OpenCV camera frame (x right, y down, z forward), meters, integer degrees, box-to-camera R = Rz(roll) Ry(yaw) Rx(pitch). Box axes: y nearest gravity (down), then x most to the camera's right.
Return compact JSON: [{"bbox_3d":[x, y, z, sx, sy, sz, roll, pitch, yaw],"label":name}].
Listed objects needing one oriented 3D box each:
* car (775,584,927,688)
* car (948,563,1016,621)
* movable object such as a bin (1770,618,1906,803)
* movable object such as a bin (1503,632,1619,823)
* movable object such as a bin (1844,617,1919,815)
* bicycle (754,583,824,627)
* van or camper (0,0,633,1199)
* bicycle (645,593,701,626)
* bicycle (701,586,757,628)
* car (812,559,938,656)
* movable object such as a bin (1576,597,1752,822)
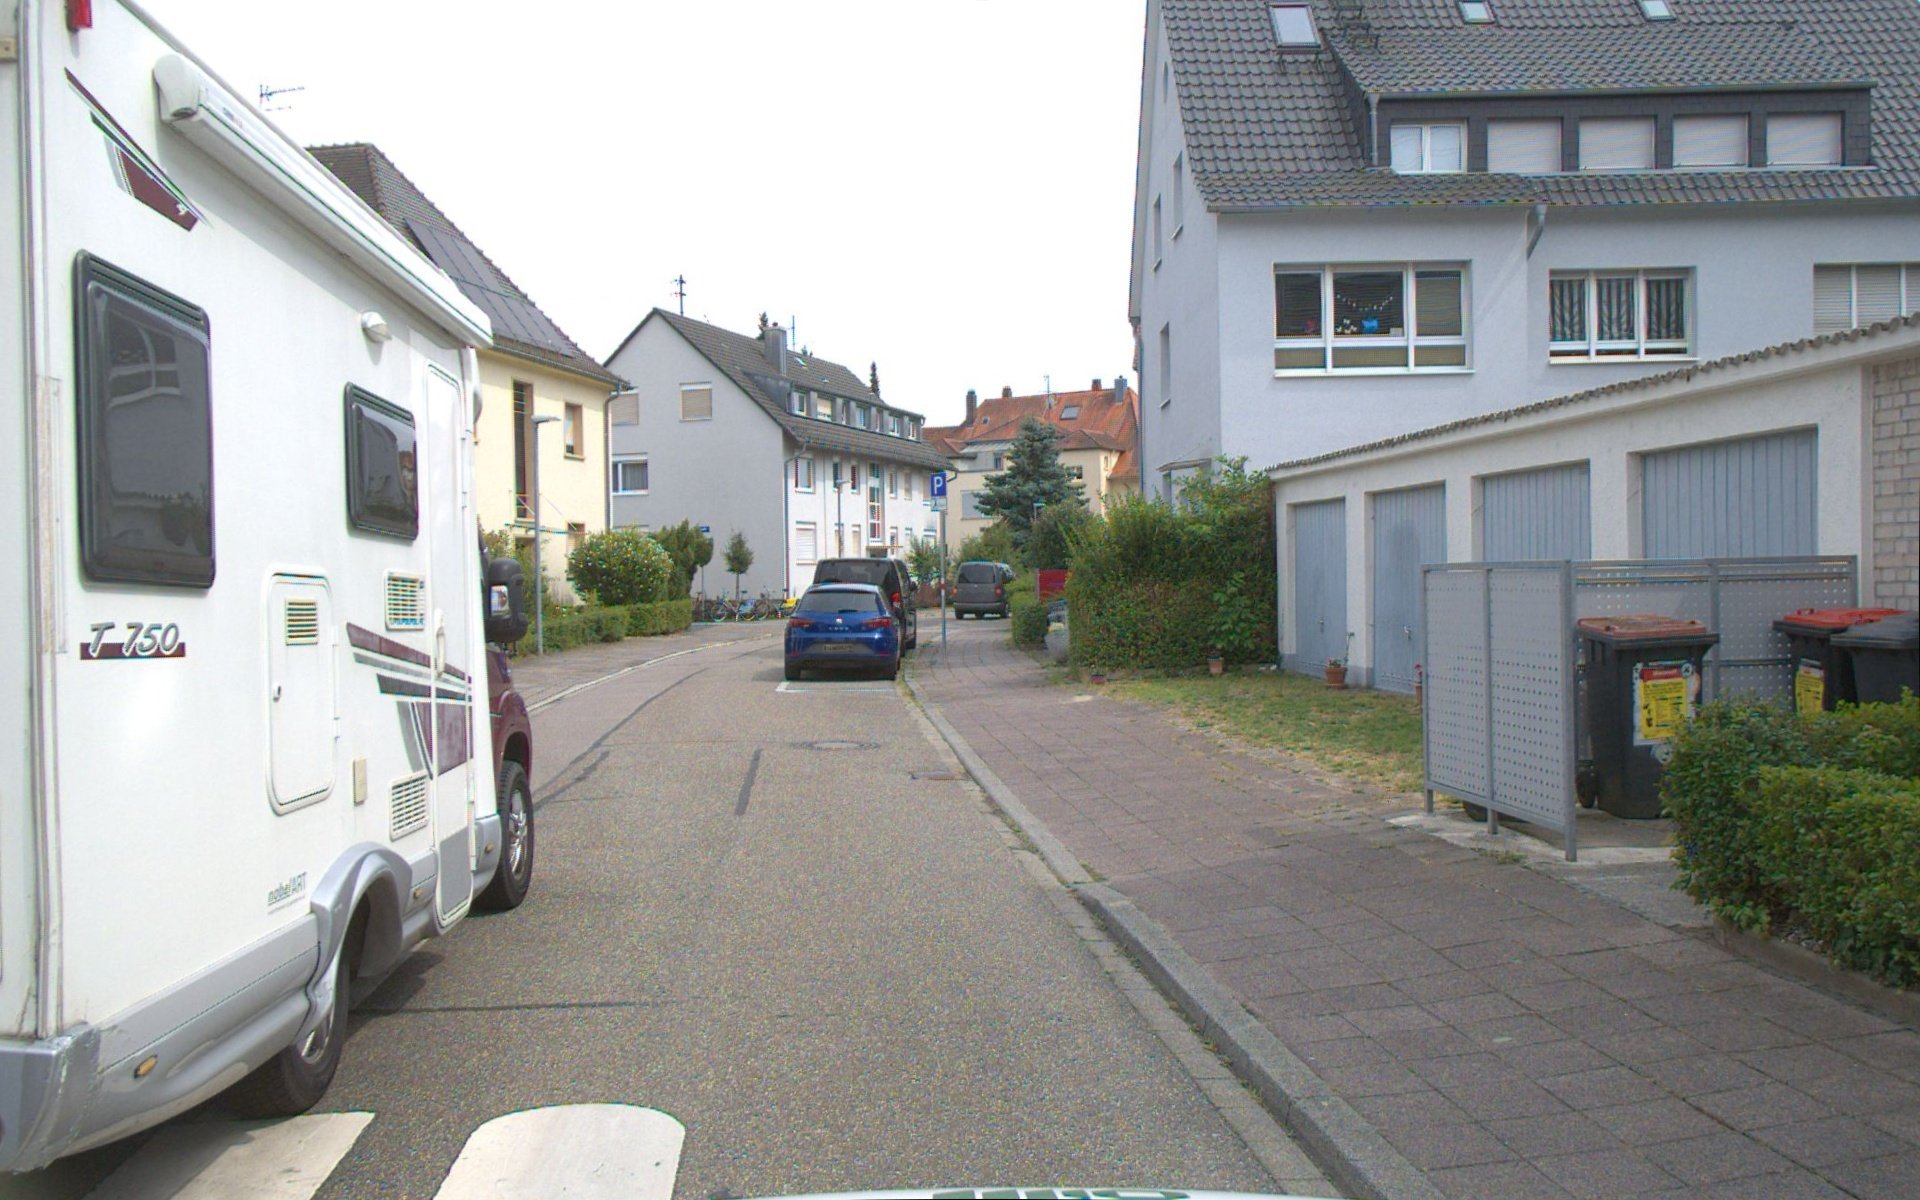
[{"bbox_3d":[-1.640,0.561,26.300,1.686,1.477,4.003,-2,-1,7],"label":"car"},{"bbox_3d":[0.769,-0.236,55.077,1.814,1.773,4.349,-2,-1,6],"label":"car"},{"bbox_3d":[4.894,0.603,9.240,0.444,0.990,0.506,-1,-1,-4],"label":"movable object such as a bin"},{"bbox_3d":[3.239,0.674,8.943,0.382,0.990,0.515,-1,-1,-5],"label":"movable object such as a bin"},{"bbox_3d":[4.966,0.585,8.581,0.444,0.990,0.506,-1,-1,-4],"label":"movable object such as a bin"},{"bbox_3d":[-6.000,0.183,58.031,2.318,1.486,0.713,-1,-1,-28],"label":"bicycle"},{"bbox_3d":[-2.796,0.096,5.523,2.356,2.773,6.159,-1,-1,-2],"label":"van or camper"},{"bbox_3d":[-9.851,0.331,56.698,1.805,1.098,0.667,-1,-1,-18],"label":"bicycle"},{"bbox_3d":[-7.948,0.231,56.970,1.805,1.397,0.667,-1,-1,-18],"label":"bicycle"},{"bbox_3d":[-1.631,0.174,33.312,1.814,1.773,4.349,-2,-1,6],"label":"car"},{"bbox_3d":[3.816,0.576,9.010,0.568,1.157,0.754,-1,-1,-5],"label":"movable object such as a bin"}]
